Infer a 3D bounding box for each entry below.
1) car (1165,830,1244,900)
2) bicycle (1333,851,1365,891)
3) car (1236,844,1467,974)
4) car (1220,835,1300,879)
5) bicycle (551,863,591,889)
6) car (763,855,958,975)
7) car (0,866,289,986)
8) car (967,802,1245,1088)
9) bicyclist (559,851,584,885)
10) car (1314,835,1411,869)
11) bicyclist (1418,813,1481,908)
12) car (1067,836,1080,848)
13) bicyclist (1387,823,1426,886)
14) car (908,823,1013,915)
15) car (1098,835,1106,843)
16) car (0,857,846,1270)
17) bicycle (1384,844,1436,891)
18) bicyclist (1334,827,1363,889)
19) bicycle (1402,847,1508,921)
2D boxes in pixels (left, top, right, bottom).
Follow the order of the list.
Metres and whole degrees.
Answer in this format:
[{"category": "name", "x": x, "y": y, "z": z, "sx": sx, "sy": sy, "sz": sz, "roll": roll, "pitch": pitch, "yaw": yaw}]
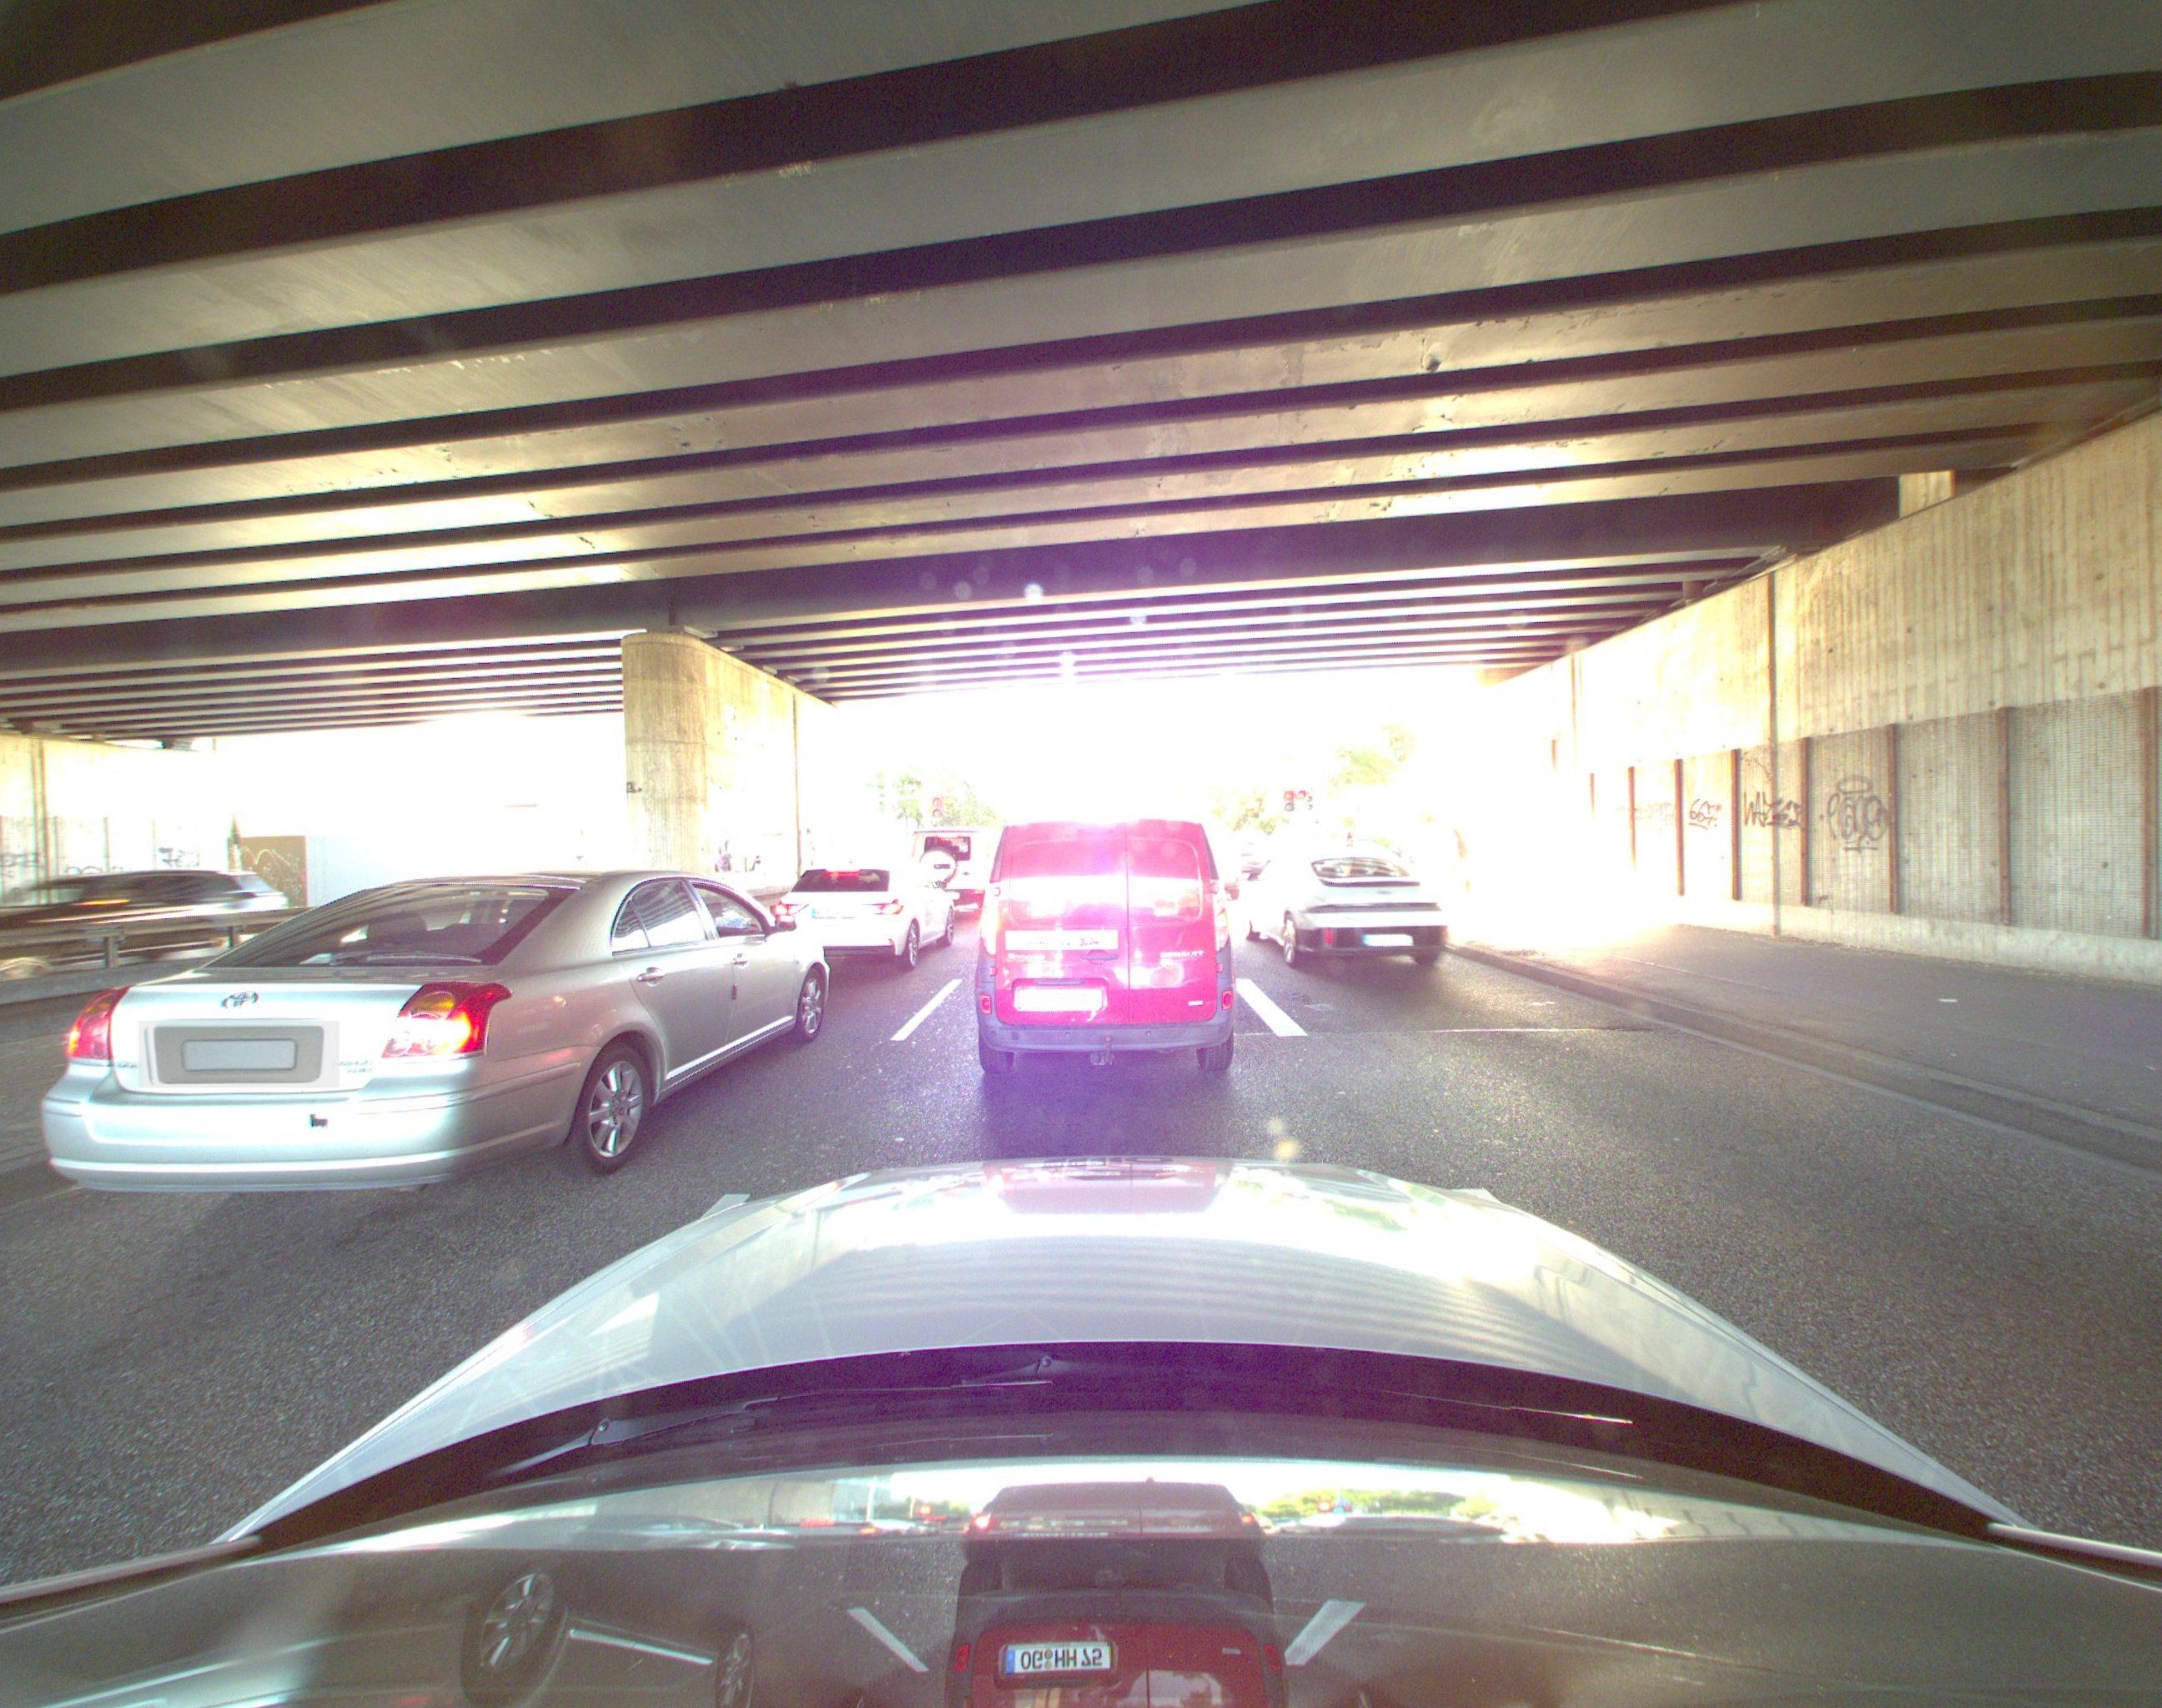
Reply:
[{"category": "car", "x": 3.485, "y": 0.265, "z": 23.699, "sx": 1.806, "sy": 1.833, "sz": 4.303, "roll": 0, "pitch": 1, "yaw": 2}, {"category": "bicycle", "x": 7.119, "y": 0.434, "z": 21.687, "sx": 0.672, "sy": 1.024, "sz": 1.534, "roll": 0, "pitch": 0, "yaw": 12}, {"category": "car", "x": 3.492, "y": 0.613, "z": 11.512, "sx": 1.740, "sy": 1.456, "sz": 4.664, "roll": 0, "pitch": 0, "yaw": 0}, {"category": "car", "x": 7.340, "y": 0.083, "z": 33.100, "sx": 1.787, "sy": 1.622, "sz": 4.134, "roll": 0, "pitch": 2, "yaw": 33}, {"category": "bicycle", "x": -23.584, "y": 0.986, "z": 37.709, "sx": 0.631, "sy": 1.165, "sz": 1.878, "roll": 0, "pitch": 0, "yaw": 2}, {"category": "car", "x": -2.933, "y": 0.730, "z": 11.679, "sx": 1.686, "sy": 1.410, "sz": 3.814, "roll": 0, "pitch": 0, "yaw": 1}, {"category": "car", "x": -15.977, "y": 1.070, "z": 13.223, "sx": 1.845, "sy": 1.616, "sz": 4.365, "roll": -2, "pitch": 0, "yaw": 1}, {"category": "car", "x": 0.217, "y": 0.564, "z": 7.058, "sx": 1.712, "sy": 1.764, "sz": 4.002, "roll": 0, "pitch": 0, "yaw": 2}, {"category": "bicyclist", "x": -23.588, "y": 0.648, "z": 37.716, "sx": 0.625, "sy": 1.525, "sz": 0.837, "roll": 0, "pitch": -1, "yaw": 1}, {"category": "car", "x": 12.805, "y": -0.073, "z": 37.124, "sx": 3.885, "sy": 1.464, "sz": 1.833, "roll": 0, "pitch": -1, "yaw": -17}, {"category": "bicyclist", "x": 6.606, "y": 0.121, "z": 14.631, "sx": 0.744, "sy": 1.655, "sz": 0.886, "roll": 0, "pitch": -1, "yaw": 1}, {"category": "car", "x": -1.294, "y": -1.987, "z": 136.967, "sx": 1.986, "sy": 2.014, "sz": 4.001, "roll": 0, "pitch": 0, "yaw": 2}, {"category": "bicyclist", "x": 8.267, "y": 0.006, "z": 20.720, "sx": 0.667, "sy": 1.561, "sz": 0.735, "roll": -2, "pitch": -1, "yaw": 1}, {"category": "car", "x": -2.686, "y": 0.312, "z": 19.013, "sx": 1.807, "sy": 1.904, "sz": 3.814, "roll": 0, "pitch": 0, "yaw": 1}, {"category": "car", "x": 5.658, "y": -4.040, "z": 220.851, "sx": 1.986, "sy": 2.014, "sz": 4.001, "roll": 0, "pitch": 0, "yaw": 2}, {"category": "car", "x": -3.017, "y": 0.763, "z": 5.139, "sx": 1.690, "sy": 1.455, "sz": 4.399, "roll": 0, "pitch": 0, "yaw": 1}, {"category": "bicycle", "x": 8.273, "y": 0.339, "z": 20.547, "sx": 0.678, "sy": 1.113, "sz": 1.604, "roll": -2, "pitch": 0, "yaw": 2}, {"category": "bicyclist", "x": 7.115, "y": 0.114, "z": 21.673, "sx": 0.673, "sy": 1.629, "sz": 0.646, "roll": 0, "pitch": -1, "yaw": 12}, {"category": "bicycle", "x": 6.633, "y": 0.480, "z": 14.632, "sx": 0.762, "sy": 1.146, "sz": 2.470, "roll": -3, "pitch": 1, "yaw": 1}]
